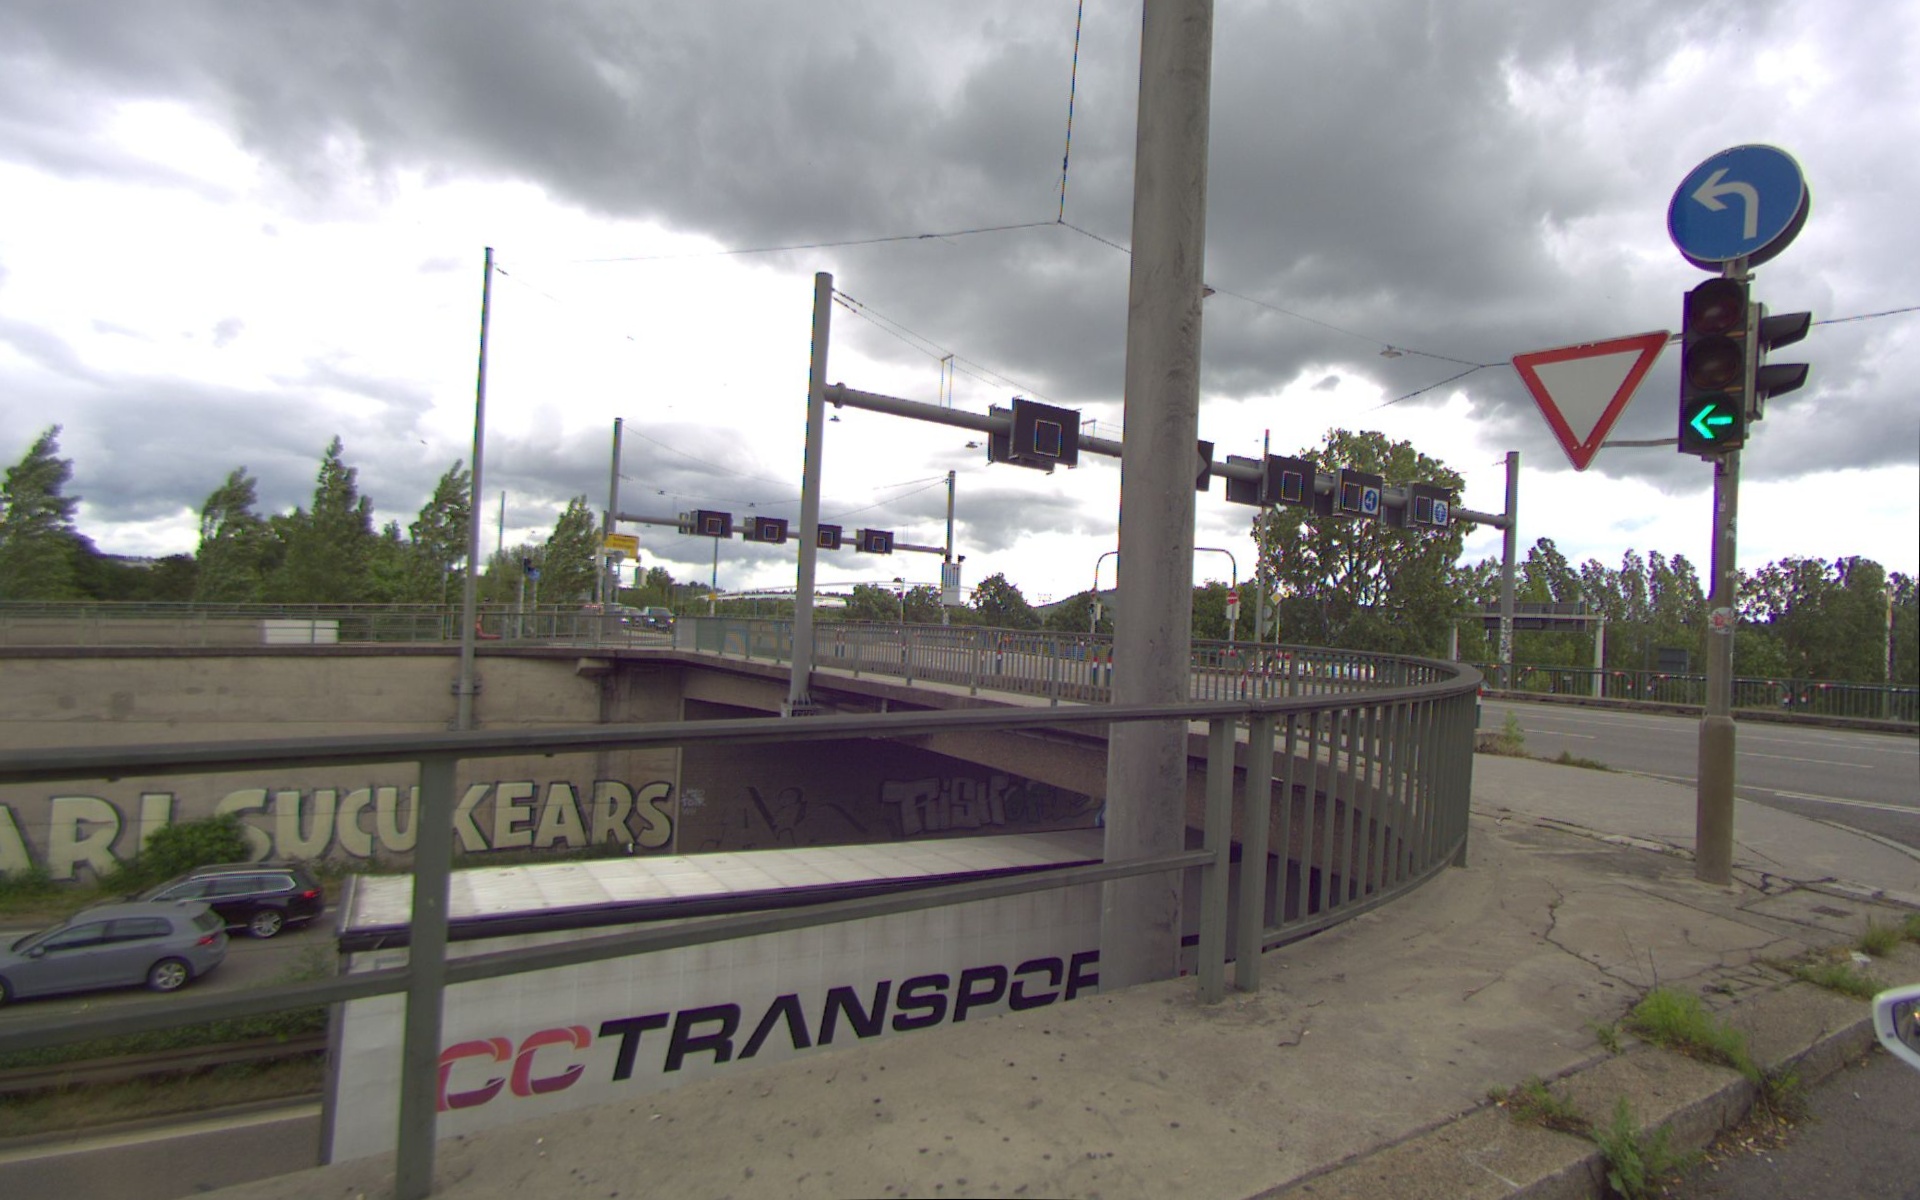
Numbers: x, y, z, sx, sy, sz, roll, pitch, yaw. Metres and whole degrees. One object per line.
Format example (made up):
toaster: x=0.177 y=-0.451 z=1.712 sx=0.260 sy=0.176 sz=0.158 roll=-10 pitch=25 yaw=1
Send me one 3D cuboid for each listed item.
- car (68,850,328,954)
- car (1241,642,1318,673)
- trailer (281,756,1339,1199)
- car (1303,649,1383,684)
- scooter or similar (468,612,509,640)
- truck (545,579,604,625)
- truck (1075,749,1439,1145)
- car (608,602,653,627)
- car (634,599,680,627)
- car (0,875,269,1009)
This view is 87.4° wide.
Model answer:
car: x=-17.349 y=6.868 z=23.207 sx=4.370 sy=1.585 sz=2.124 roll=5 pitch=-4 yaw=-28
car: x=16.745 y=3.011 z=52.661 sx=3.721 sy=1.329 sz=1.777 roll=7 pitch=-5 yaw=-29
trailer: x=-0.755 y=5.256 z=13.779 sx=13.962 sy=5.057 sz=2.958 roll=2 pitch=0 yaw=-30
car: x=21.416 y=3.718 z=56.131 sx=4.297 sy=1.640 sz=1.983 roll=7 pitch=-5 yaw=-32
scooter or similar: x=-17.914 y=0.991 z=38.193 sx=1.324 sy=1.070 sz=0.479 roll=2 pitch=0 yaw=-39
truck: x=-33.426 y=0.172 z=86.765 sx=2.982 sy=3.612 sz=9.898 roll=3 pitch=-1 yaw=-31
truck: x=5.117 y=5.431 z=17.248 sx=5.512 sy=5.057 sz=2.958 roll=2 pitch=0 yaw=-30
car: x=-21.548 y=0.921 z=65.617 sx=1.821 sy=1.524 sz=4.479 roll=3 pitch=-1 yaw=-31
car: x=-18.066 y=0.747 z=59.867 sx=1.819 sy=1.524 sz=3.841 roll=3 pitch=-1 yaw=-29
car: x=-16.279 y=6.551 z=19.500 sx=4.370 sy=1.739 sz=2.124 roll=5 pitch=-4 yaw=-28
